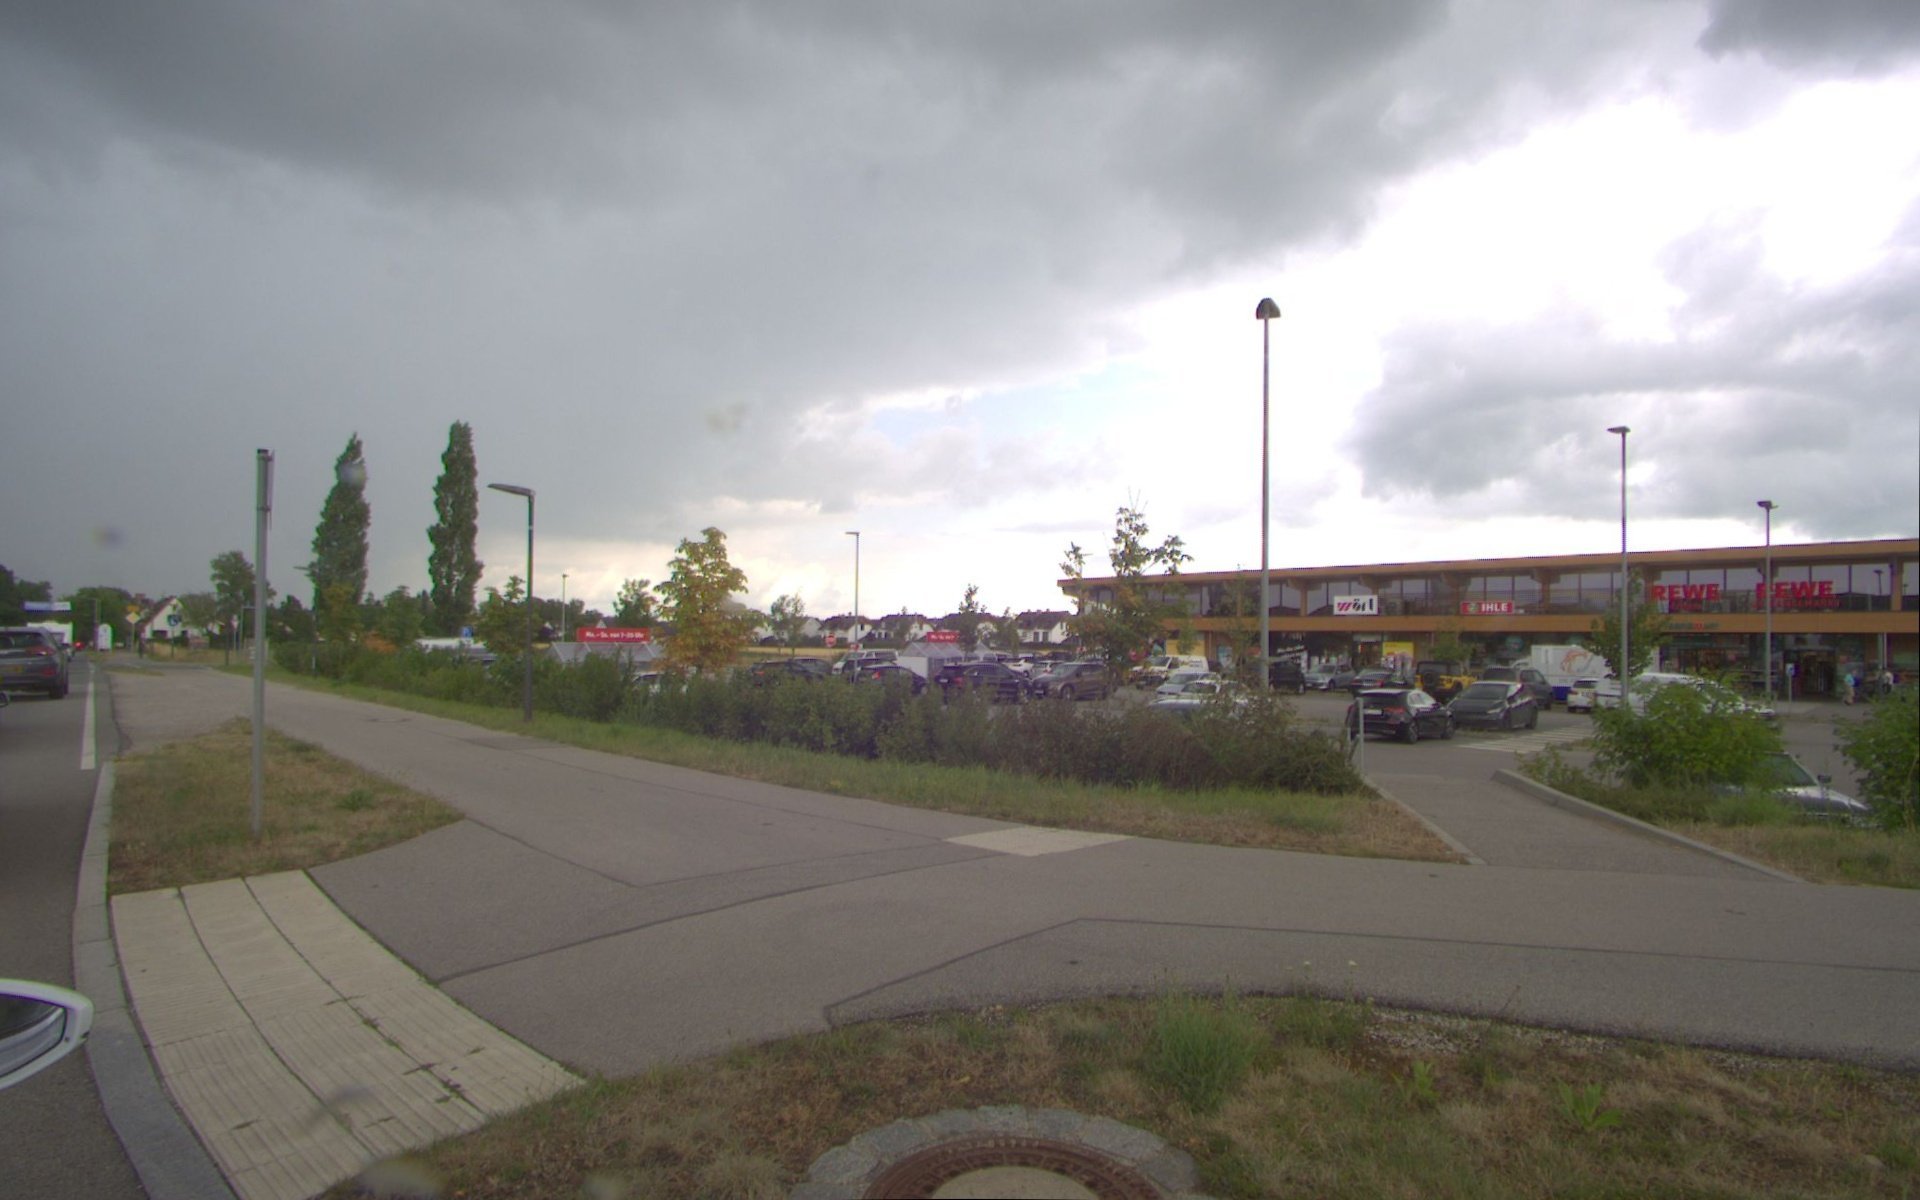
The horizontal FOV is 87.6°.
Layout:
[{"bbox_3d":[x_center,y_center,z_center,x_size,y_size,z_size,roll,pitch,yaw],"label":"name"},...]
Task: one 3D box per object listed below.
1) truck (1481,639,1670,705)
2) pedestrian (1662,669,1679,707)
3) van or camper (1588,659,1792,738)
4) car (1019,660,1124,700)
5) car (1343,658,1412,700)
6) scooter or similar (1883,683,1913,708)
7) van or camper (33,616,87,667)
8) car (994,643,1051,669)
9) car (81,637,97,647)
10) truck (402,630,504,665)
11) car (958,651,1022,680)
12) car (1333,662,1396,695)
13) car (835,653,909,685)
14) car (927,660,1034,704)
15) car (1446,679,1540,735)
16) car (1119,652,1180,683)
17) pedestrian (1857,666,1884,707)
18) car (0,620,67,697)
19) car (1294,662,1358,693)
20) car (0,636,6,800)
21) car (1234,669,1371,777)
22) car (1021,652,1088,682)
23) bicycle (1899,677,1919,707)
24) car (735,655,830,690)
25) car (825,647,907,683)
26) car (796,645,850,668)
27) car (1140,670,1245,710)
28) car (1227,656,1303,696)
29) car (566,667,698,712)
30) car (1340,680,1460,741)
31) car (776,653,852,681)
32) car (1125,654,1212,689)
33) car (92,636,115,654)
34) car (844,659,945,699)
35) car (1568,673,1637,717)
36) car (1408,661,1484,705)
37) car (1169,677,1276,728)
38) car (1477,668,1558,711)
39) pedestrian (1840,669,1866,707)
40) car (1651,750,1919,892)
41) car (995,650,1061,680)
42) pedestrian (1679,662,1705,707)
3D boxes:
[{"bbox_3d":[29.013,3.305,47.401,7.183,2.842,2.951,-2,-3,44],"label":"truck"},{"bbox_3d":[37.776,4.675,53.238,0.568,1.973,0.525,0,-2,14],"label":"pedestrian"},{"bbox_3d":[22.032,2.904,30.484,1.738,2.124,4.788,2,-2,-26],"label":"van or camper"},{"bbox_3d":[5.097,3.580,45.375,4.940,1.685,1.982,3,-3,-42],"label":"car"},{"bbox_3d":[19.948,3.730,47.776,1.754,1.878,3.966,-1,-3,44],"label":"car"},{"bbox_3d":[44.415,4.513,47.407,0.991,1.140,0.788,-1,-5,41],"label":"scooter or similar"},{"bbox_3d":[-62.607,2.941,69.709,2.607,3.364,6.763,3,-4,-41],"label":"van or camper"},{"bbox_3d":[4.623,4.107,74.064,3.954,1.863,1.861,2,-3,-38],"label":"car"},{"bbox_3d":[-122.289,5.880,140.564,1.601,1.288,3.432,3,-3,-40],"label":"car"},{"bbox_3d":[-28.939,2.765,57.264,1.980,1.895,4.770,-2,-4,44],"label":"truck"},{"bbox_3d":[2.032,4.329,66.882,3.955,1.860,1.985,3,-3,-38],"label":"car"},{"bbox_3d":[21.764,4.204,53.845,3.858,1.674,1.751,4,-4,-44],"label":"car"},{"bbox_3d":[-4.927,3.870,56.458,3.960,1.727,1.701,3,-4,-42],"label":"car"},{"bbox_3d":[0.882,3.370,41.448,4.421,1.727,1.788,4,-4,-42],"label":"car"},{"bbox_3d":[17.008,3.343,31.871,1.713,1.572,3.967,-1,-3,43],"label":"car"},{"bbox_3d":[12.251,4.321,64.514,4.075,1.917,1.781,3,-3,-43],"label":"car"},{"bbox_3d":[43.700,4.145,48.070,0.918,1.921,0.788,-1,-4,41],"label":"pedestrian"},{"bbox_3d":[-21.753,1.306,22.996,1.764,1.638,3.965,2,-3,-41],"label":"car"},{"bbox_3d":[20.282,4.252,55.412,1.750,1.632,4.188,-2,-4,45],"label":"car"},{"bbox_3d":[-7.018,0.913,6.011,1.772,1.409,4.094,3,-3,-43],"label":"car"},{"bbox_3d":[4.652,1.640,13.994,1.550,1.221,3.756,1,-4,15],"label":"car"},{"bbox_3d":[5.973,4.197,62.849,3.956,1.860,1.985,3,-4,-39],"label":"car"},{"bbox_3d":[44.678,4.221,45.537,0.970,1.325,2.844,2,-3,-42],"label":"bicycle"},{"bbox_3d":[-9.247,3.760,52.335,4.525,1.685,1.983,3,-3,-42],"label":"car"},{"bbox_3d":[-5.624,3.875,60.392,1.975,2.039,5.090,0,-2,38],"label":"car"},{"bbox_3d":[-11.319,4.649,83.013,3.954,1.861,1.985,3,-3,-38],"label":"car"},{"bbox_3d":[9.689,3.689,41.494,4.741,1.503,1.887,3,-3,-42],"label":"car"},{"bbox_3d":[15.816,3.961,51.905,3.962,1.859,1.983,6,-5,-42],"label":"car"},{"bbox_3d":[-12.021,3.242,36.839,4.203,1.458,1.983,3,-3,-41],"label":"car"},{"bbox_3d":[12.300,3.005,27.883,1.817,1.415,3.965,-1,-3,44],"label":"car"},{"bbox_3d":[-8.841,4.058,60.883,4.280,1.597,1.753,3,-3,-40],"label":"car"},{"bbox_3d":[11.631,3.961,55.650,5.250,1.853,1.983,4,-4,-42],"label":"car"},{"bbox_3d":[-80.085,4.167,93.668,1.601,1.651,3.586,3,-3,-40],"label":"car"},{"bbox_3d":[-2.965,3.590,46.160,4.373,1.685,1.983,3,-3,-41],"label":"car"},{"bbox_3d":[26.075,3.807,40.589,1.713,1.549,3.967,-1,-3,43],"label":"car"},{"bbox_3d":[22.089,3.718,45.430,3.960,1.877,1.757,3,-4,-42],"label":"car"},{"bbox_3d":[8.610,3.300,32.672,1.665,1.503,3.962,-2,-4,44],"label":"car"},{"bbox_3d":[23.797,3.770,42.672,4.080,1.746,1.836,4,-5,-43],"label":"car"},{"bbox_3d":[41.317,4.065,46.322,0.742,1.678,0.798,2,-2,-40],"label":"pedestrian"},{"bbox_3d":[11.717,3.041,14.401,1.551,1.389,3.733,0,-3,11],"label":"car"},{"bbox_3d":[4.440,4.192,64.900,3.954,1.861,1.985,3,-3,-38],"label":"car"},{"bbox_3d":[34.558,3.968,47.287,0.921,2.039,0.799,-1,-2,41],"label":"pedestrian"}]
